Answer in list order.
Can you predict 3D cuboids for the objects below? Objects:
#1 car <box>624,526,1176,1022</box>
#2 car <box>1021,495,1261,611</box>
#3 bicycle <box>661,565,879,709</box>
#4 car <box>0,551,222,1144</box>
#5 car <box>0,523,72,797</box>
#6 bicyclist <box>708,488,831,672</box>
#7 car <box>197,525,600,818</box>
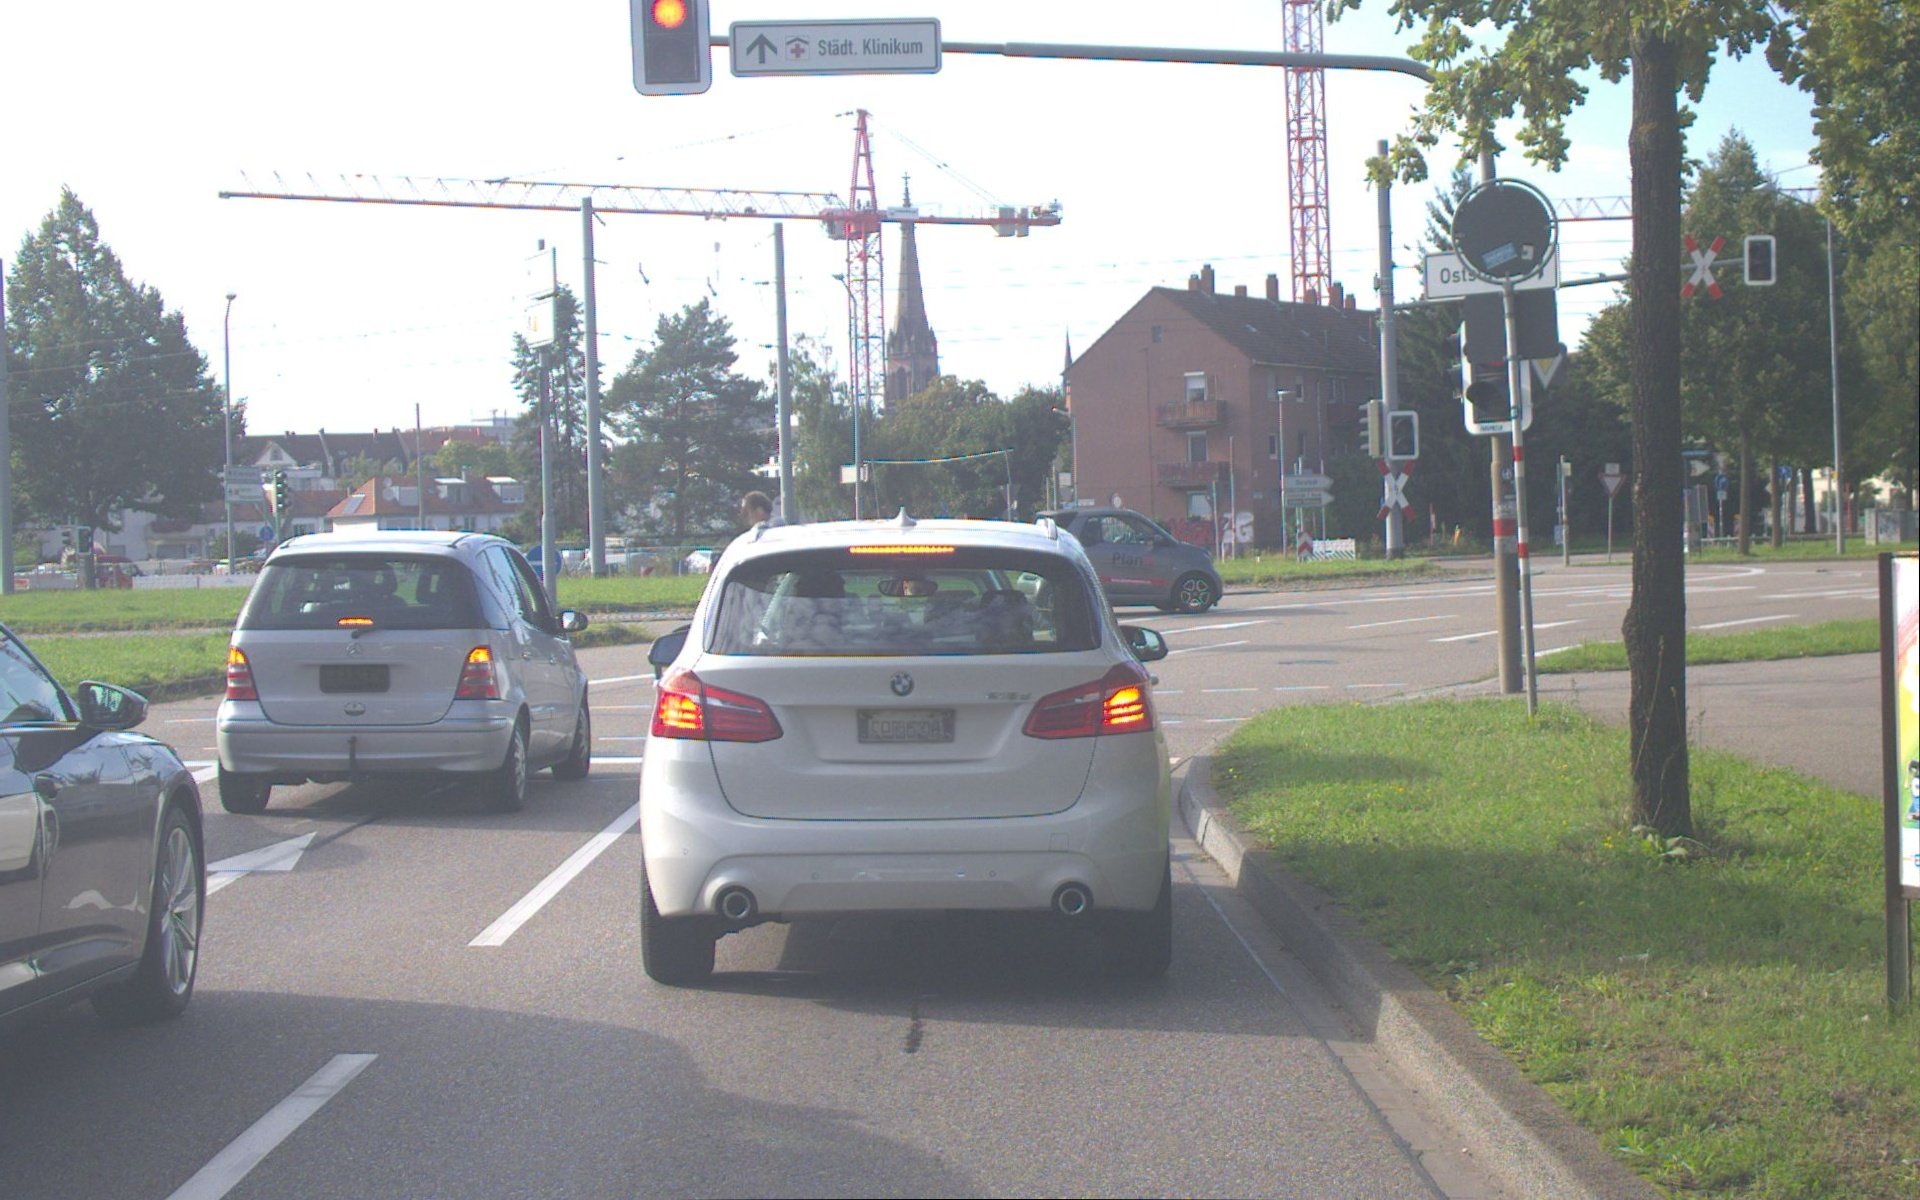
[{"bbox_3d":[-0.215,0.507,12.850,1.729,1.553,4.058,0,1,-1],"label":"car"},{"bbox_3d":[2.564,-0.689,49.163,3.187,1.568,1.575,-1,2,-6],"label":"car"},{"bbox_3d":[-1.620,0.308,29.259,1.724,1.159,0.656,-2,1,-16],"label":"bicycle"},{"bbox_3d":[-3.346,0.616,8.986,1.890,1.478,4.613,0,1,-1],"label":"car"},{"bbox_3d":[-6.340,0.354,19.301,1.721,1.559,3.878,0,2,0],"label":"car"},{"bbox_3d":[-1.628,-0.173,29.258,0.848,1.521,0.741,-2,1,-17],"label":"bicyclist"},{"bbox_3d":[-3.204,0.341,20.342,1.729,1.553,4.058,0,1,0],"label":"car"}]
